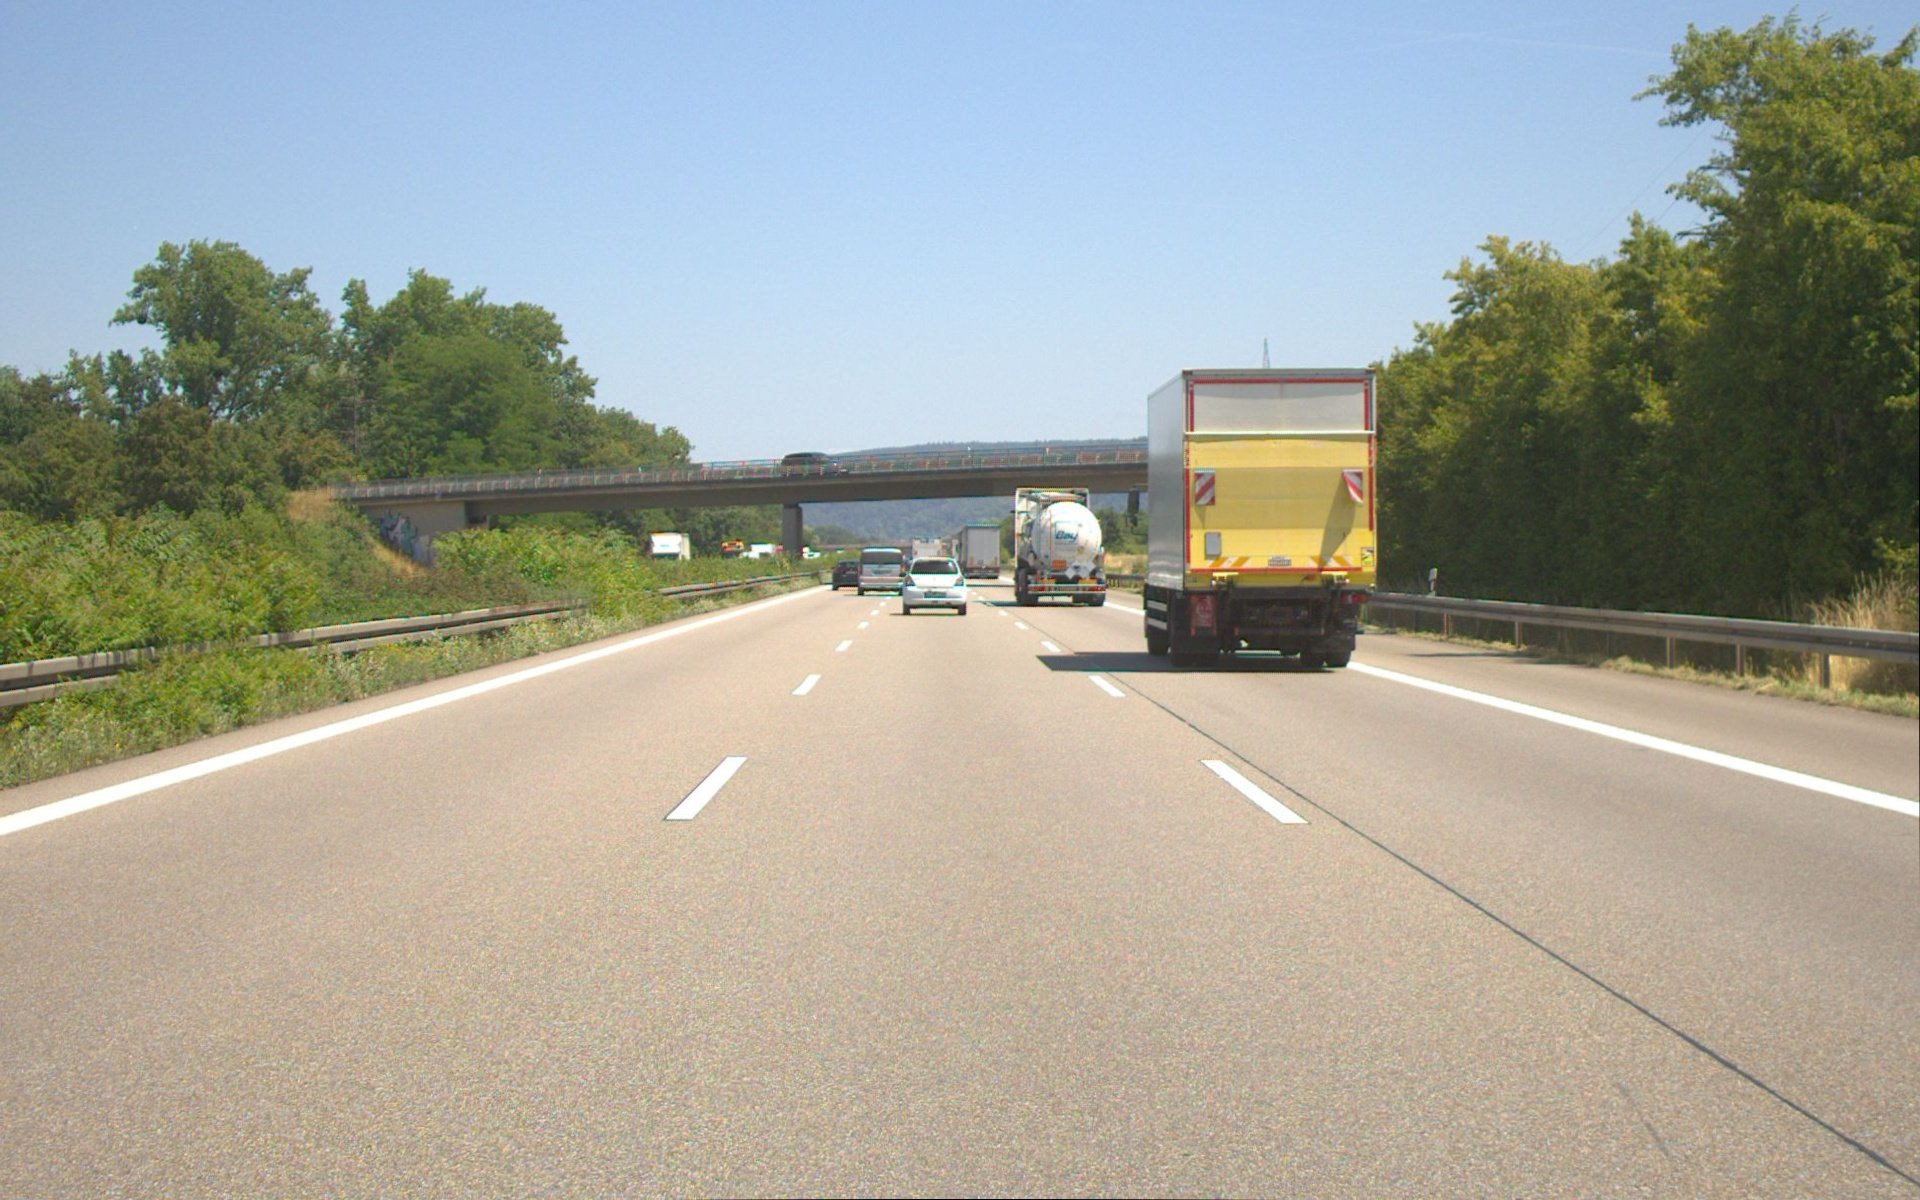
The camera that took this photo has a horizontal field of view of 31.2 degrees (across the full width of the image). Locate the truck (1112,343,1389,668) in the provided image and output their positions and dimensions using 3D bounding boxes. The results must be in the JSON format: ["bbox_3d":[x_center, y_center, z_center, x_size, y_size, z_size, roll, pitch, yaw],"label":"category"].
[{"bbox_3d":[4.030,-1.307,50.183,2.933,4.185,10.682,1,1,-1],"label":"truck"}]

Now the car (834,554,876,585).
[{"bbox_3d":[-4.875,-1.417,159.512,1.835,1.382,4.000,1,1,0],"label":"car"}]

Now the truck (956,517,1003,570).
[{"bbox_3d":[1.449,-4.284,261.019,3.265,3.844,11.632,1,1,-1],"label":"truck"}]

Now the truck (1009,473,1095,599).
[{"bbox_3d":[3.063,-2.141,115.879,2.573,4.058,6.393,1,1,-1],"label":"truck"}]

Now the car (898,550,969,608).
[{"bbox_3d":[-0.695,-0.579,91.337,1.806,1.463,4.000,1,1,0],"label":"car"}]

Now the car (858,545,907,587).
[{"bbox_3d":[-3.098,-1.364,138.395,1.852,1.627,4.000,1,1,0],"label":"car"}]

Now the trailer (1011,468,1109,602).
[{"bbox_3d":[3.152,-2.077,111.135,2.580,4.060,11.104,1,1,-1],"label":"trailer"}]
